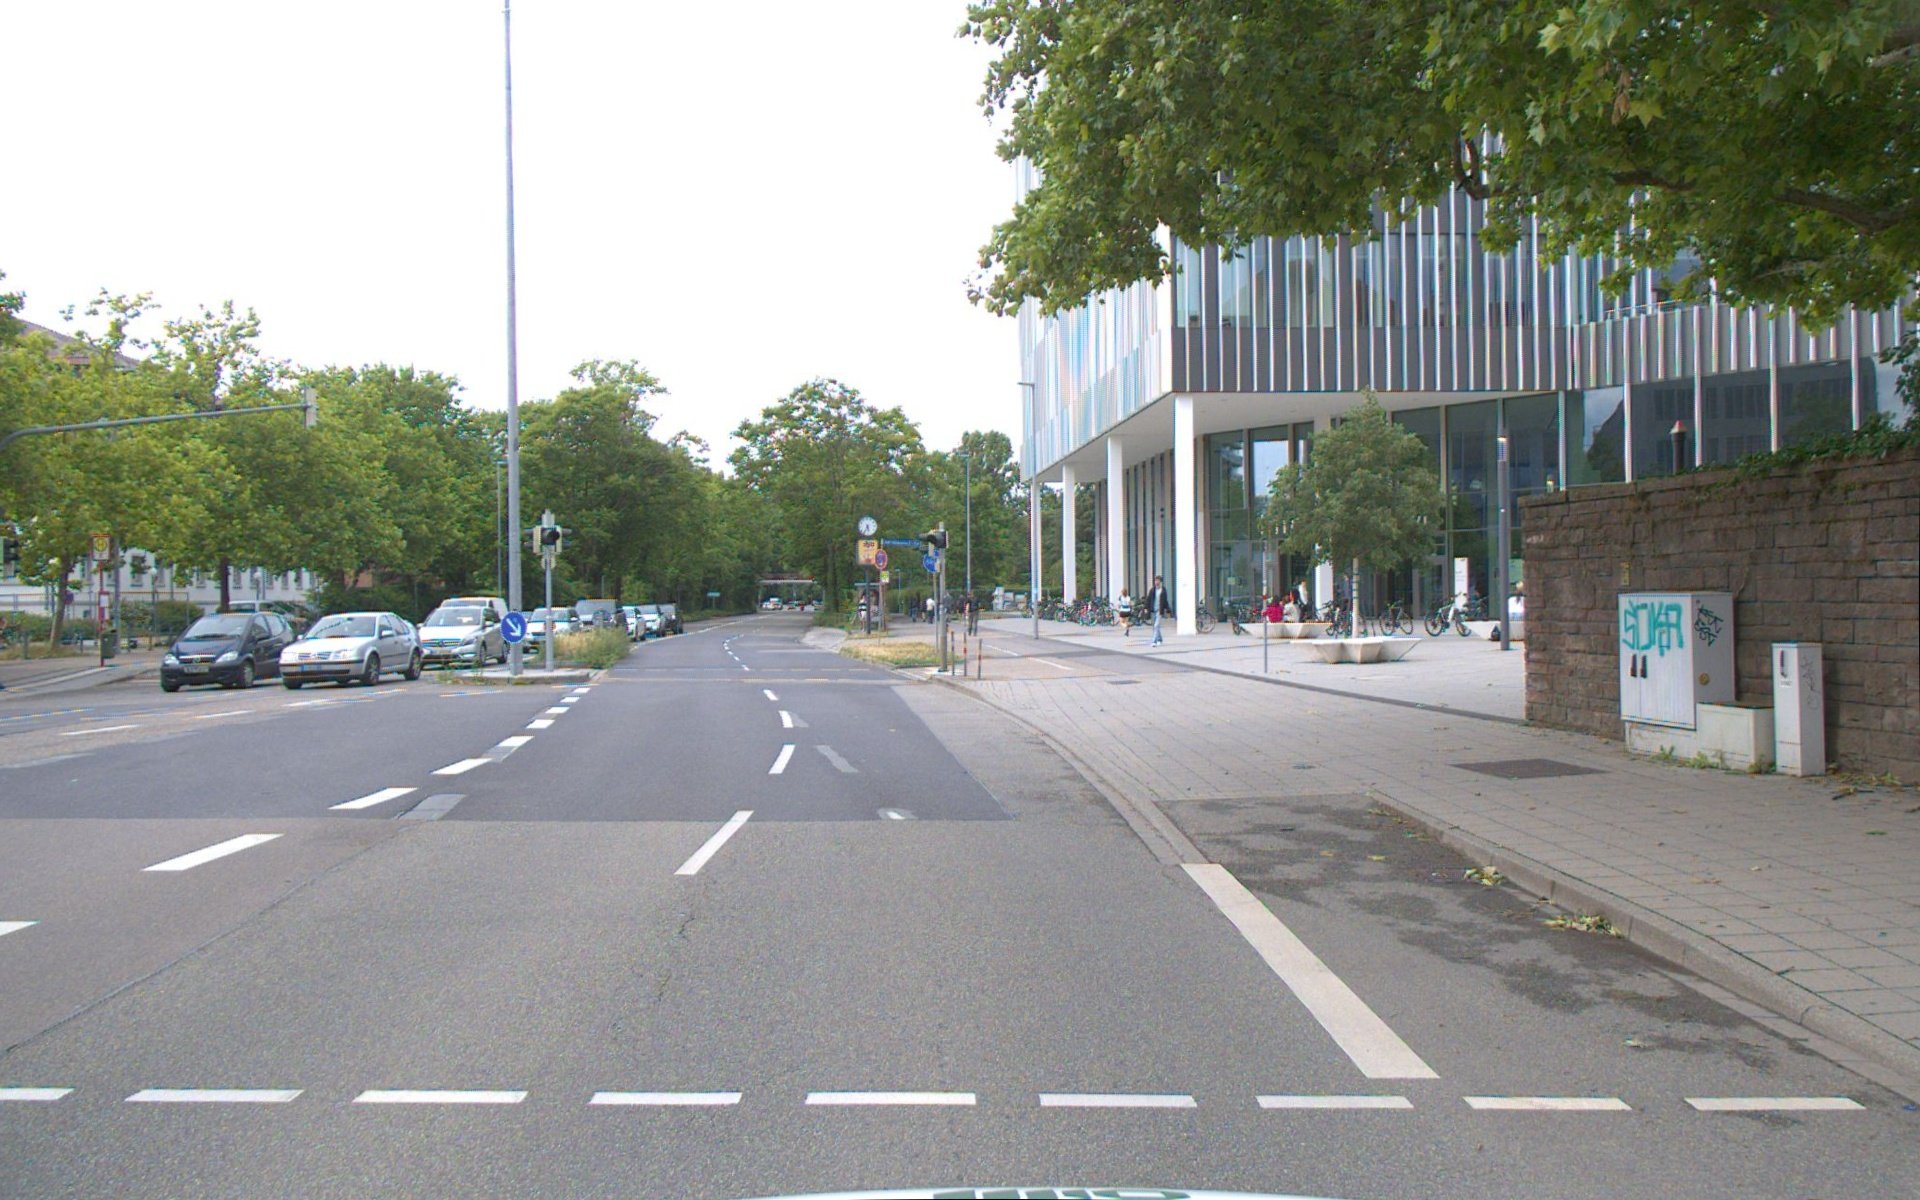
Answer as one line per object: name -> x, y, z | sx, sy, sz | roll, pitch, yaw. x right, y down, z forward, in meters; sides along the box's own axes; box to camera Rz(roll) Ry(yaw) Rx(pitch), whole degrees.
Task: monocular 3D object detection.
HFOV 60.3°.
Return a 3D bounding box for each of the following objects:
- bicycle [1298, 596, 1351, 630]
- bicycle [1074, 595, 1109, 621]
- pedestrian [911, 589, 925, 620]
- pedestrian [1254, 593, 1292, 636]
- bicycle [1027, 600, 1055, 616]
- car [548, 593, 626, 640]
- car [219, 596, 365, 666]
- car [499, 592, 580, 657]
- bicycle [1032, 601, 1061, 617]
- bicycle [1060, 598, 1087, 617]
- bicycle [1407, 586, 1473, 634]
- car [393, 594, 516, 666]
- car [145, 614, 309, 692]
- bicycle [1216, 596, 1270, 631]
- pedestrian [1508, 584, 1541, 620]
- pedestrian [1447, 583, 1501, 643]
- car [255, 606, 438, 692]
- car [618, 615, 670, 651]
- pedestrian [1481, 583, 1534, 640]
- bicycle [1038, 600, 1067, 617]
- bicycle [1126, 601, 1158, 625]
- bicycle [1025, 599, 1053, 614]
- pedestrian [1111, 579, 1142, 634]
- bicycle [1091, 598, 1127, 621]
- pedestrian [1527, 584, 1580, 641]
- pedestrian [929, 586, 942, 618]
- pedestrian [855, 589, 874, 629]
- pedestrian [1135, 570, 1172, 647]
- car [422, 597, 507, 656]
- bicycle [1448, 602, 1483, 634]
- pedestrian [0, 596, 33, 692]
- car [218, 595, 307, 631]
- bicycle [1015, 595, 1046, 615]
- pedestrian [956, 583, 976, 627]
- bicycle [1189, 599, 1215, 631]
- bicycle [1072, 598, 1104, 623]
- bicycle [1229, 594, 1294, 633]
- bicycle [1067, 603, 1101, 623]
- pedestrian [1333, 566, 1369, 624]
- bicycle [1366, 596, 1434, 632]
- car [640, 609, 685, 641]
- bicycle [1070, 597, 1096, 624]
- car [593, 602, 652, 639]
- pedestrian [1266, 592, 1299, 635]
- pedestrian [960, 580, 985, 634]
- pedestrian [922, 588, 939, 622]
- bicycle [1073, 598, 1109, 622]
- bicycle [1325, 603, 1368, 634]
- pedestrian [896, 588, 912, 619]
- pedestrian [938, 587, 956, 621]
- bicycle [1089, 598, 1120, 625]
bicycle -> 11.583, 0.402, 52.514 | 0.761, 1.019, 1.947 | -1, 0, 43
bicycle -> 6.236, 0.392, 78.434 | 1.610, 1.110, 0.572 | -4, 0, 4
pedestrian -> -2.808, 0.276, 110.664 | 0.808, 2.049, 0.719 | -1, 0, -9
pedestrian -> 8.954, 0.411, 47.319 | 0.827, 1.227, 0.893 | -1, 0, 30
bicycle -> 4.741, 0.471, 96.814 | 1.575, 0.890, 0.556 | -2, 0, -4
car -> -14.305, 0.610, 63.686 | 1.953, 1.716, 4.946 | 0, 0, -1
car -> -16.867, 0.736, 41.996 | 1.952, 1.648, 4.001 | -1, 0, 2
car -> -14.191, 0.798, 56.034 | 1.954, 2.049, 3.996 | -1, 0, -5
bicycle -> 4.973, 0.507, 95.226 | 1.575, 0.890, 0.556 | -2, 0, -4
bicycle -> 5.717, 0.372, 83.132 | 1.258, 0.890, 0.556 | -2, 0, -4
bicycle -> 14.261, 0.286, 49.119 | 1.978, 1.328, 0.640 | -3, 2, -27
car -> -13.050, 0.733, 42.934 | 1.918, 1.611, 4.254 | -3, 1, -2
car -> -15.359, 1.077, 34.860 | 1.814, 1.489, 3.697 | -1, 0, 0
bicycle -> 9.551, 0.441, 55.698 | 0.723, 1.135, 2.170 | -1, 0, 42
pedestrian -> 13.370, 0.047, 39.162 | 0.620, 0.838, 0.734 | -2, -1, 11
pedestrian -> 12.111, 0.314, 39.005 | 0.893, 1.391, 0.875 | 1, 0, -14
car -> -12.234, 0.930, 33.296 | 1.952, 1.556, 4.275 | -1, 0, 2
car -> -15.259, 1.570, 79.982 | 1.955, 1.574, 4.176 | -2, 0, -4
pedestrian -> 12.558, 0.271, 37.945 | 0.890, 1.279, 0.878 | 1, 0, -2
bicycle -> 5.239, 0.496, 94.056 | 1.575, 0.890, 0.556 | -2, 0, -4
bicycle -> 7.478, 0.520, 67.960 | 1.477, 0.945, 0.433 | -2, 2, -44
bicycle -> 4.729, 0.379, 98.633 | 1.576, 0.890, 0.555 | -1, 0, -8
pedestrian -> 5.790, 0.227, 57.607 | 0.827, 1.868, 0.892 | -1, 0, -10
bicycle -> 6.773, 0.445, 75.403 | 1.572, 0.952, 0.569 | -4, 1, 6
pedestrian -> 13.680, 0.287, 38.158 | 0.890, 1.279, 0.878 | 1, 0, -2
pedestrian -> -1.629, 0.133, 110.687 | 0.808, 2.049, 0.719 | -2, 0, -5
pedestrian -> -5.067, 0.460, 87.789 | 0.895, 2.048, 0.853 | -3, 2, -6
pedestrian -> 5.276, 0.226, 45.151 | 0.826, 2.049, 0.894 | -1, 0, -3
car -> -16.569, 0.858, 55.516 | 1.736, 1.880, 4.485 | 1, 0, -4
bicycle -> 14.722, 0.519, 48.140 | 0.387, 0.914, 1.464 | -1, 0, 41
pedestrian -> -20.856, 0.947, 35.936 | 0.877, 2.049, 1.008 | -1, 0, -7
car -> -33.226, 0.621, 78.850 | 3.517, 1.630, 1.649 | 1, 0, -7
bicycle -> 4.269, 0.309, 99.741 | 1.760, 1.100, 0.625 | -3, 0, -6
pedestrian -> 0.269, 0.224, 77.669 | 0.826, 2.049, 0.893 | -1, 0, -6
bicycle -> 8.451, 0.507, 57.760 | 0.625, 1.080, 1.840 | 1, 0, 0
bicycle -> 5.900, 0.487, 76.249 | 1.373, 1.061, 0.558 | -3, 0, -4
bicycle -> 9.917, 0.438, 54.323 | 0.761, 1.208, 2.702 | -1, 0, 43
bicycle -> 5.978, 0.625, 79.700 | 1.574, 0.890, 0.556 | -1, 0, -4
pedestrian -> 14.206, -0.179, 60.130 | 1.156, 2.098, 1.136 | 1, 0, 9
bicycle -> 13.364, 0.434, 50.233 | 2.166, 1.023, 0.772 | -2, 0, -35
car -> -16.015, 1.306, 89.204 | 1.865, 1.621, 4.512 | -1, 0, -4
bicycle -> 5.383, 0.458, 72.608 | 0.624, 1.160, 2.196 | -4, 0, -9
car -> -14.360, 0.861, 70.647 | 1.866, 1.491, 4.906 | 1, 0, -4
pedestrian -> 9.348, 0.397, 47.951 | 0.872, 1.214, 0.846 | -1, 0, 9
pedestrian -> 0.501, 0.274, 64.577 | 0.826, 2.048, 0.894 | -3, 0, -3
pedestrian -> -1.805, 0.280, 101.169 | 0.908, 2.049, 1.037 | -1, 0, -9
bicycle -> 6.080, 0.474, 76.834 | 1.575, 0.999, 0.556 | -4, 0, -4
bicycle -> 12.118, 0.567, 51.825 | 0.659, 0.914, 1.838 | -1, 0, 36
pedestrian -> -3.730, 0.256, 110.618 | 0.908, 2.049, 1.037 | -1, 0, -9
pedestrian -> -0.793, 0.267, 101.174 | 0.908, 2.049, 1.037 | -1, 0, -9
bicycle -> 6.080, 0.483, 69.854 | 0.598, 1.098, 1.954 | -3, 0, -16
